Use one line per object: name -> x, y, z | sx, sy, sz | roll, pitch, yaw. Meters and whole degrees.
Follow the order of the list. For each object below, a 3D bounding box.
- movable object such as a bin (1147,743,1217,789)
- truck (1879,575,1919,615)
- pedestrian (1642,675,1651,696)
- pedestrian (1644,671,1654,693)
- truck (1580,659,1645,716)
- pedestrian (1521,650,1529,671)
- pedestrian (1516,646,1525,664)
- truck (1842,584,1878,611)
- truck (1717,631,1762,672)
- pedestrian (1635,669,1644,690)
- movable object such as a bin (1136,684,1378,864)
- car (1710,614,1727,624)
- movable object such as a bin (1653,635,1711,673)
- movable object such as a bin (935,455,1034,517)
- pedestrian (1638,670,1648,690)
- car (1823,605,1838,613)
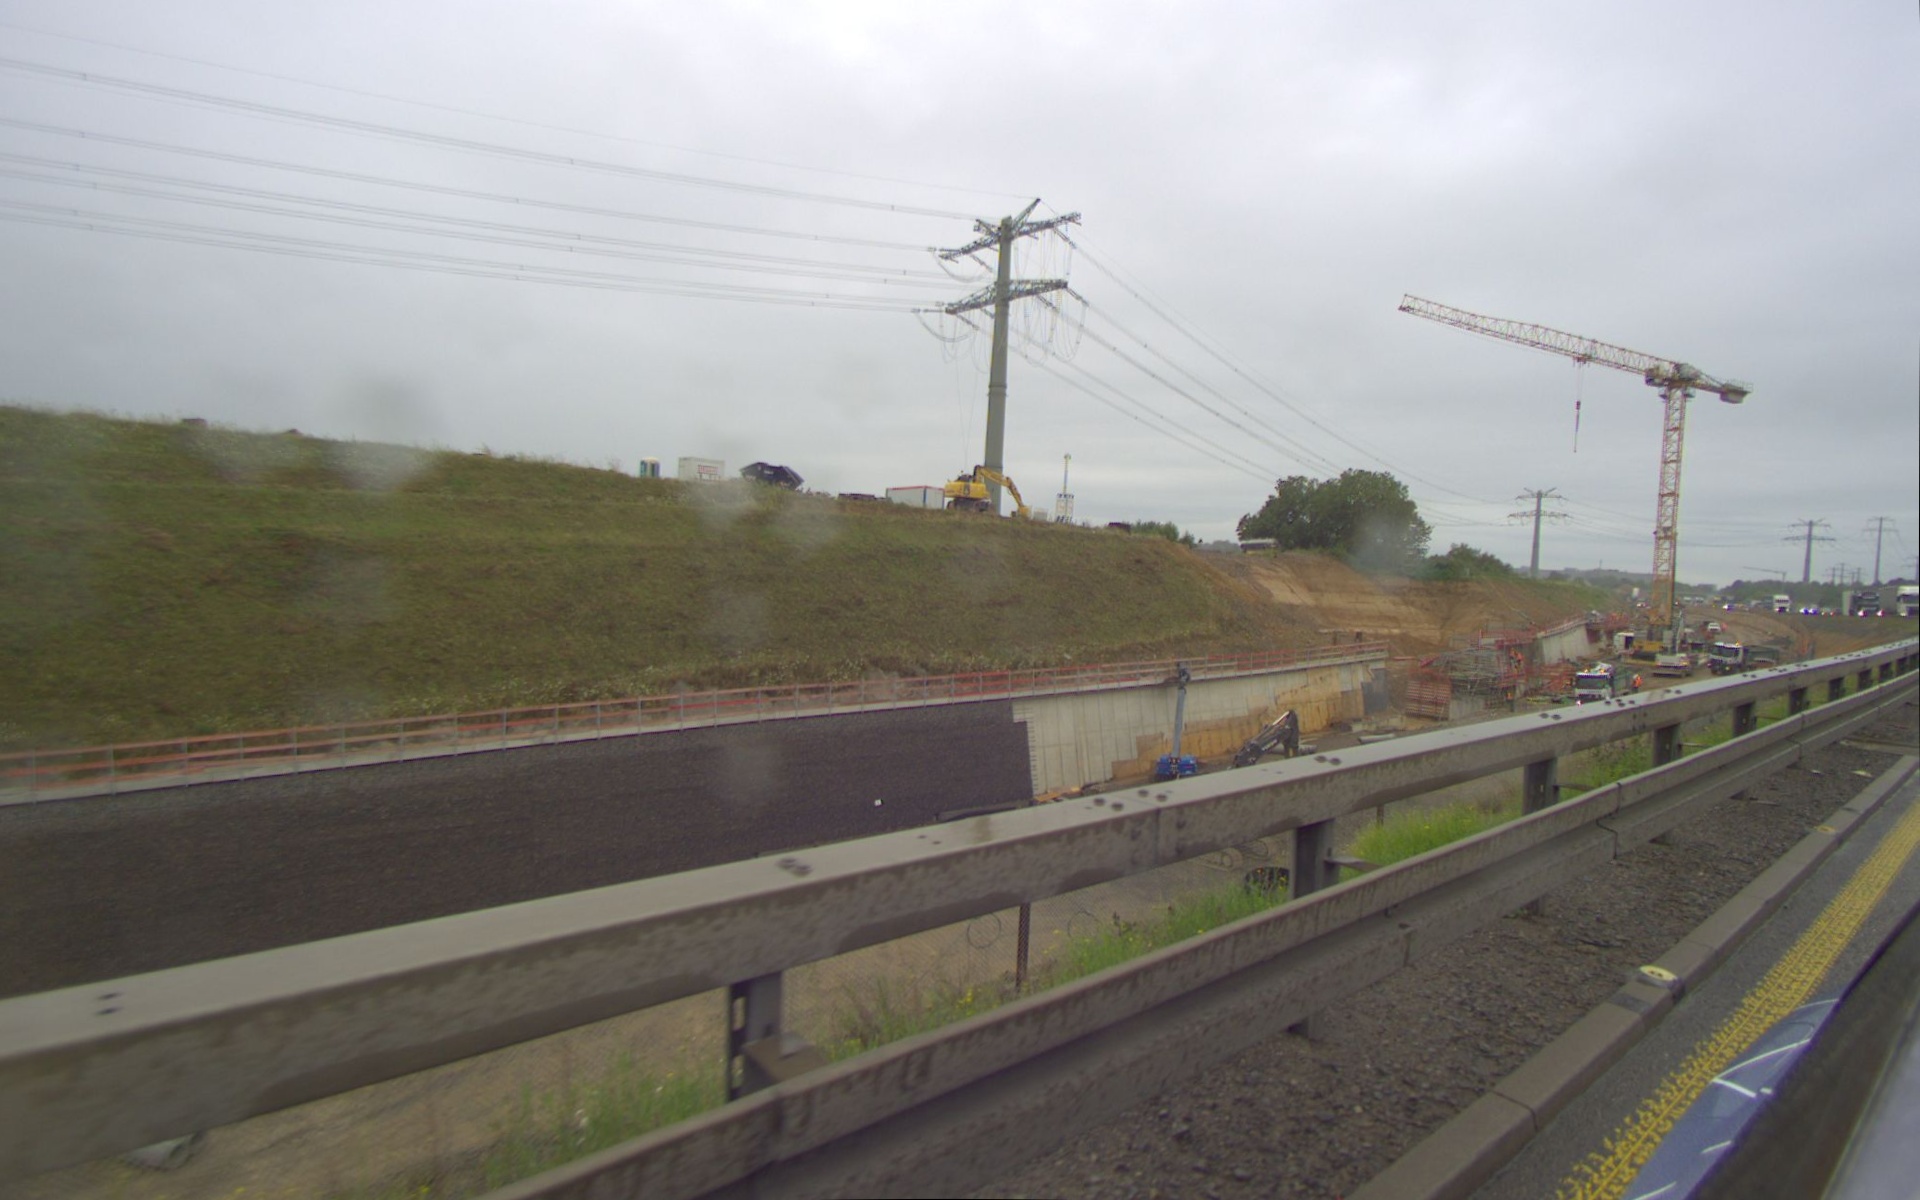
movable object such as a bin -> 12.423, 9.215, 56.584 | 2.514, 1.936, 3.207 | -2, -1, 42
truck -> 108.780, -0.550, 116.186 | 4.302, 4.400, 13.210 | -1, -1, 41
pedestrian -> 64.266, 8.000, 94.777 | 0.601, 1.928, 0.605 | 2, 2, 41
pedestrian -> 64.777, 7.709, 95.155 | 0.601, 1.928, 0.474 | 3, 2, 41
truck -> 54.070, 7.128, 83.798 | 2.704, 3.656, 8.929 | 3, 3, 44
pedestrian -> 60.156, 6.464, 107.824 | 0.487, 2.127, 0.474 | -6, -4, 41
pedestrian -> 59.138, 5.781, 106.802 | 0.570, 1.827, 0.490 | -3, -3, -9
truck -> 133.932, -0.315, 150.608 | 3.530, 3.943, 8.217 | -1, -1, 39
truck -> 84.676, 5.462, 109.817 | 3.349, 3.583, 8.779 | 1, 3, 41
pedestrian -> 64.528, 7.532, 96.105 | 0.601, 1.928, 0.474 | 4, 2, 41
movable object such as a bin -> 13.797, 7.402, 46.105 | 11.888, 5.740, 4.899 | -4, 1, -42
car -> 145.634, 3.593, 194.222 | 2.342, 1.638, 4.790 | 2, 2, 40
movable object such as a bin -> 76.955, 5.698, 107.820 | 6.536, 3.467, 3.515 | -2, 1, -40
movable object such as a bin -> 2.091, -9.176, 82.787 | 8.035, 4.259, 3.105 | 0, 1, -41
pedestrian -> 63.755, 7.483, 94.525 | 0.601, 1.791, 0.474 | 5, 4, 41
car -> 146.347, 1.494, 170.157 | 1.783, 1.445, 3.941 | -1, -1, 41
